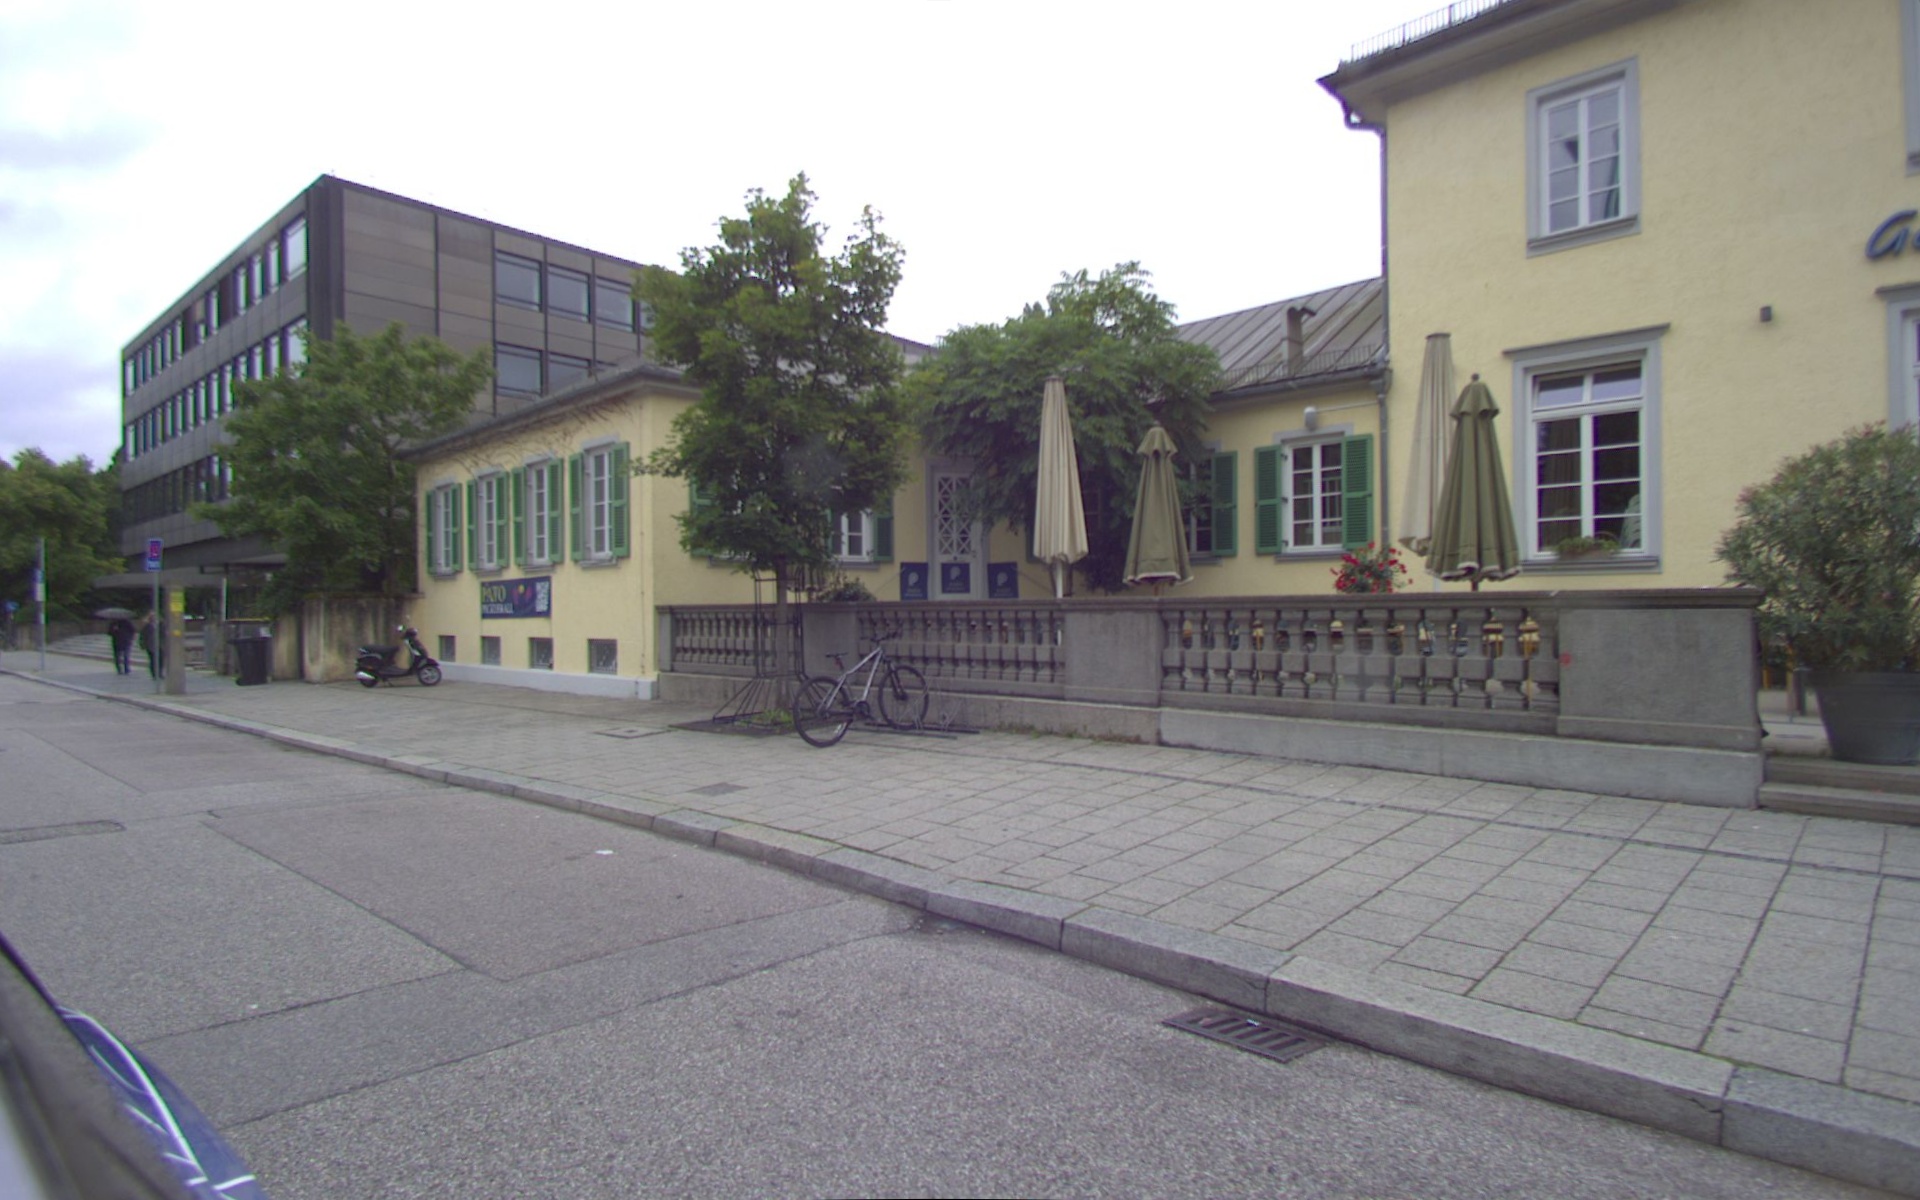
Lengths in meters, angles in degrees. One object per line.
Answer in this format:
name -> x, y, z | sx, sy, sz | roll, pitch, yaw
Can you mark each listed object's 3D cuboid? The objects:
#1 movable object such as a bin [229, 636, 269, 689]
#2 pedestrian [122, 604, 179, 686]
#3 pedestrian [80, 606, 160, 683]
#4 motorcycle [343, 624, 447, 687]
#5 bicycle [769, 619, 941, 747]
movable object such as a bin -> -15.599, 1.357, 22.196 | 0.460, 1.117, 0.607 | -1, 0, 40
pedestrian -> -20.776, 1.129, 25.967 | 0.913, 2.029, 0.964 | -1, 0, 40
pedestrian -> -23.549, 1.218, 28.369 | 1.500, 2.029, 1.460 | -1, 0, 41
motorcycle -> -11.067, 1.079, 19.851 | 1.642, 1.120, 0.591 | -3, 2, -5
bicycle -> -1.038, 0.804, 10.382 | 0.466, 1.042, 1.822 | -2, 3, 44
